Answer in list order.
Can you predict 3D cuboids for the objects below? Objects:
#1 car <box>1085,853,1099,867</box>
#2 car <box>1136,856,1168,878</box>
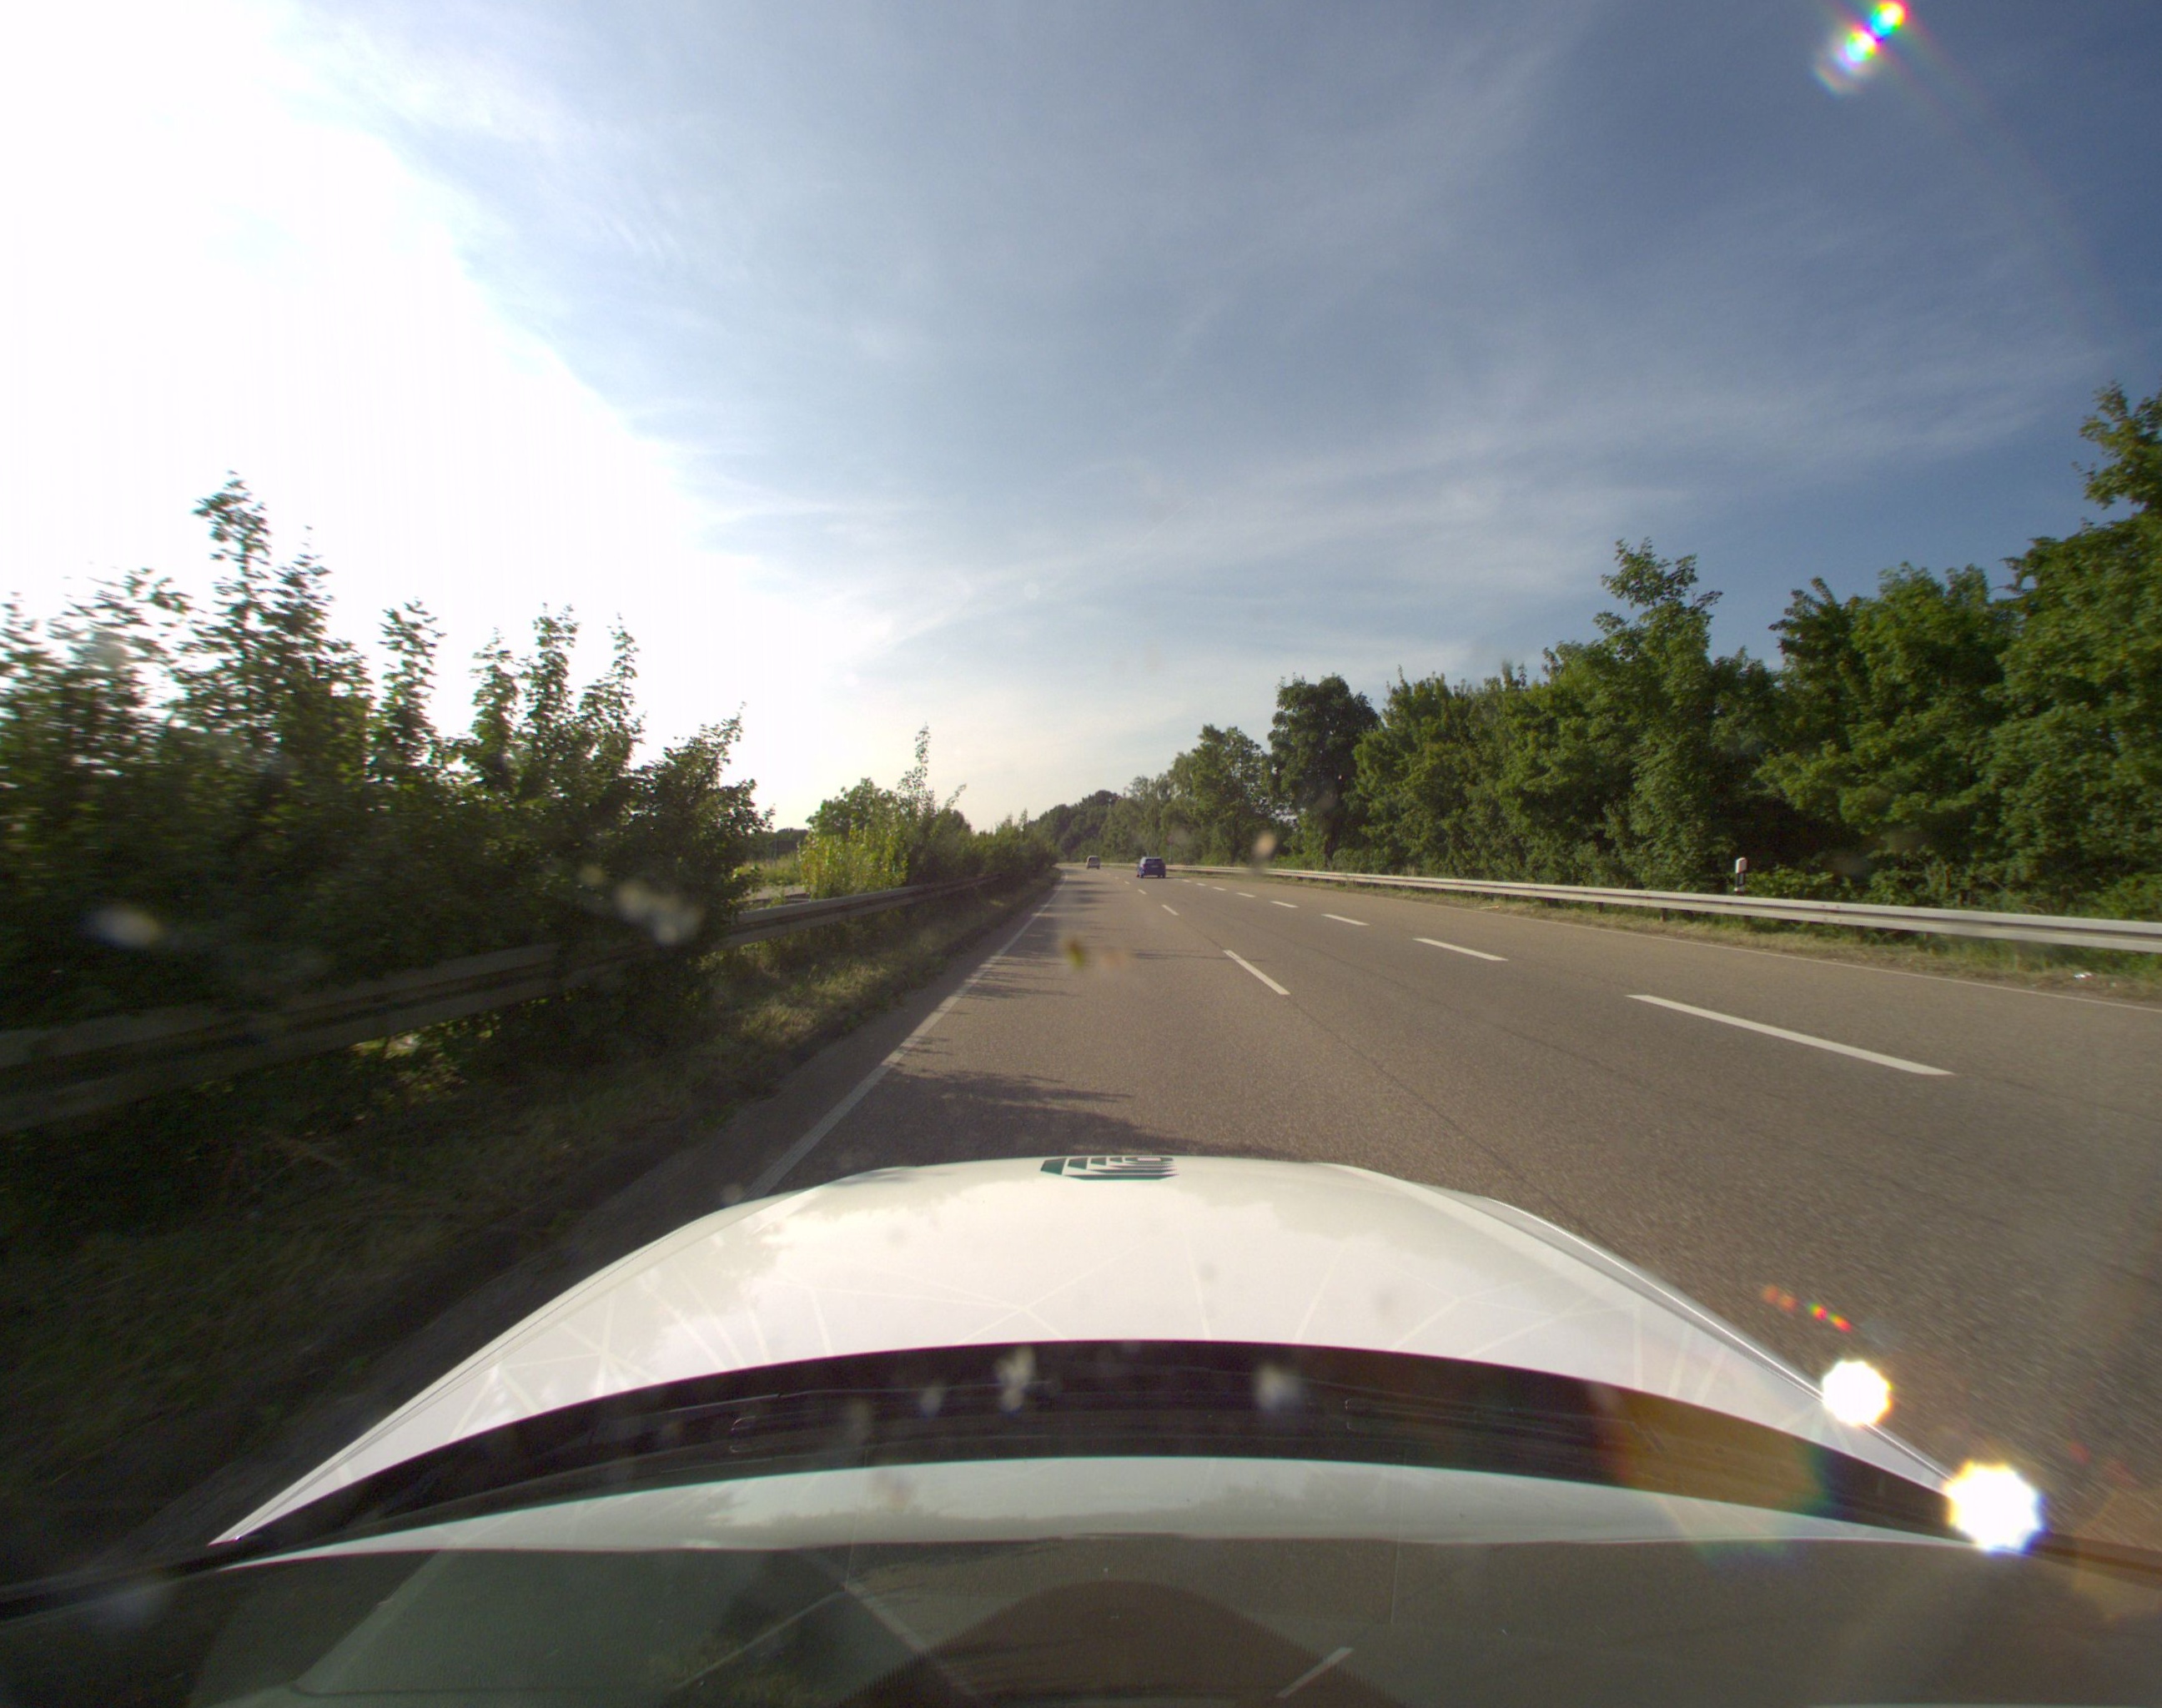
[{"bbox_3d":[1.522,0.794,112.715,1.761,1.882,3.997,-1,0,-2],"label":"car"},{"bbox_3d":[4.929,0.910,56.746,1.774,1.451,3.997,-1,-1,-1],"label":"car"}]
